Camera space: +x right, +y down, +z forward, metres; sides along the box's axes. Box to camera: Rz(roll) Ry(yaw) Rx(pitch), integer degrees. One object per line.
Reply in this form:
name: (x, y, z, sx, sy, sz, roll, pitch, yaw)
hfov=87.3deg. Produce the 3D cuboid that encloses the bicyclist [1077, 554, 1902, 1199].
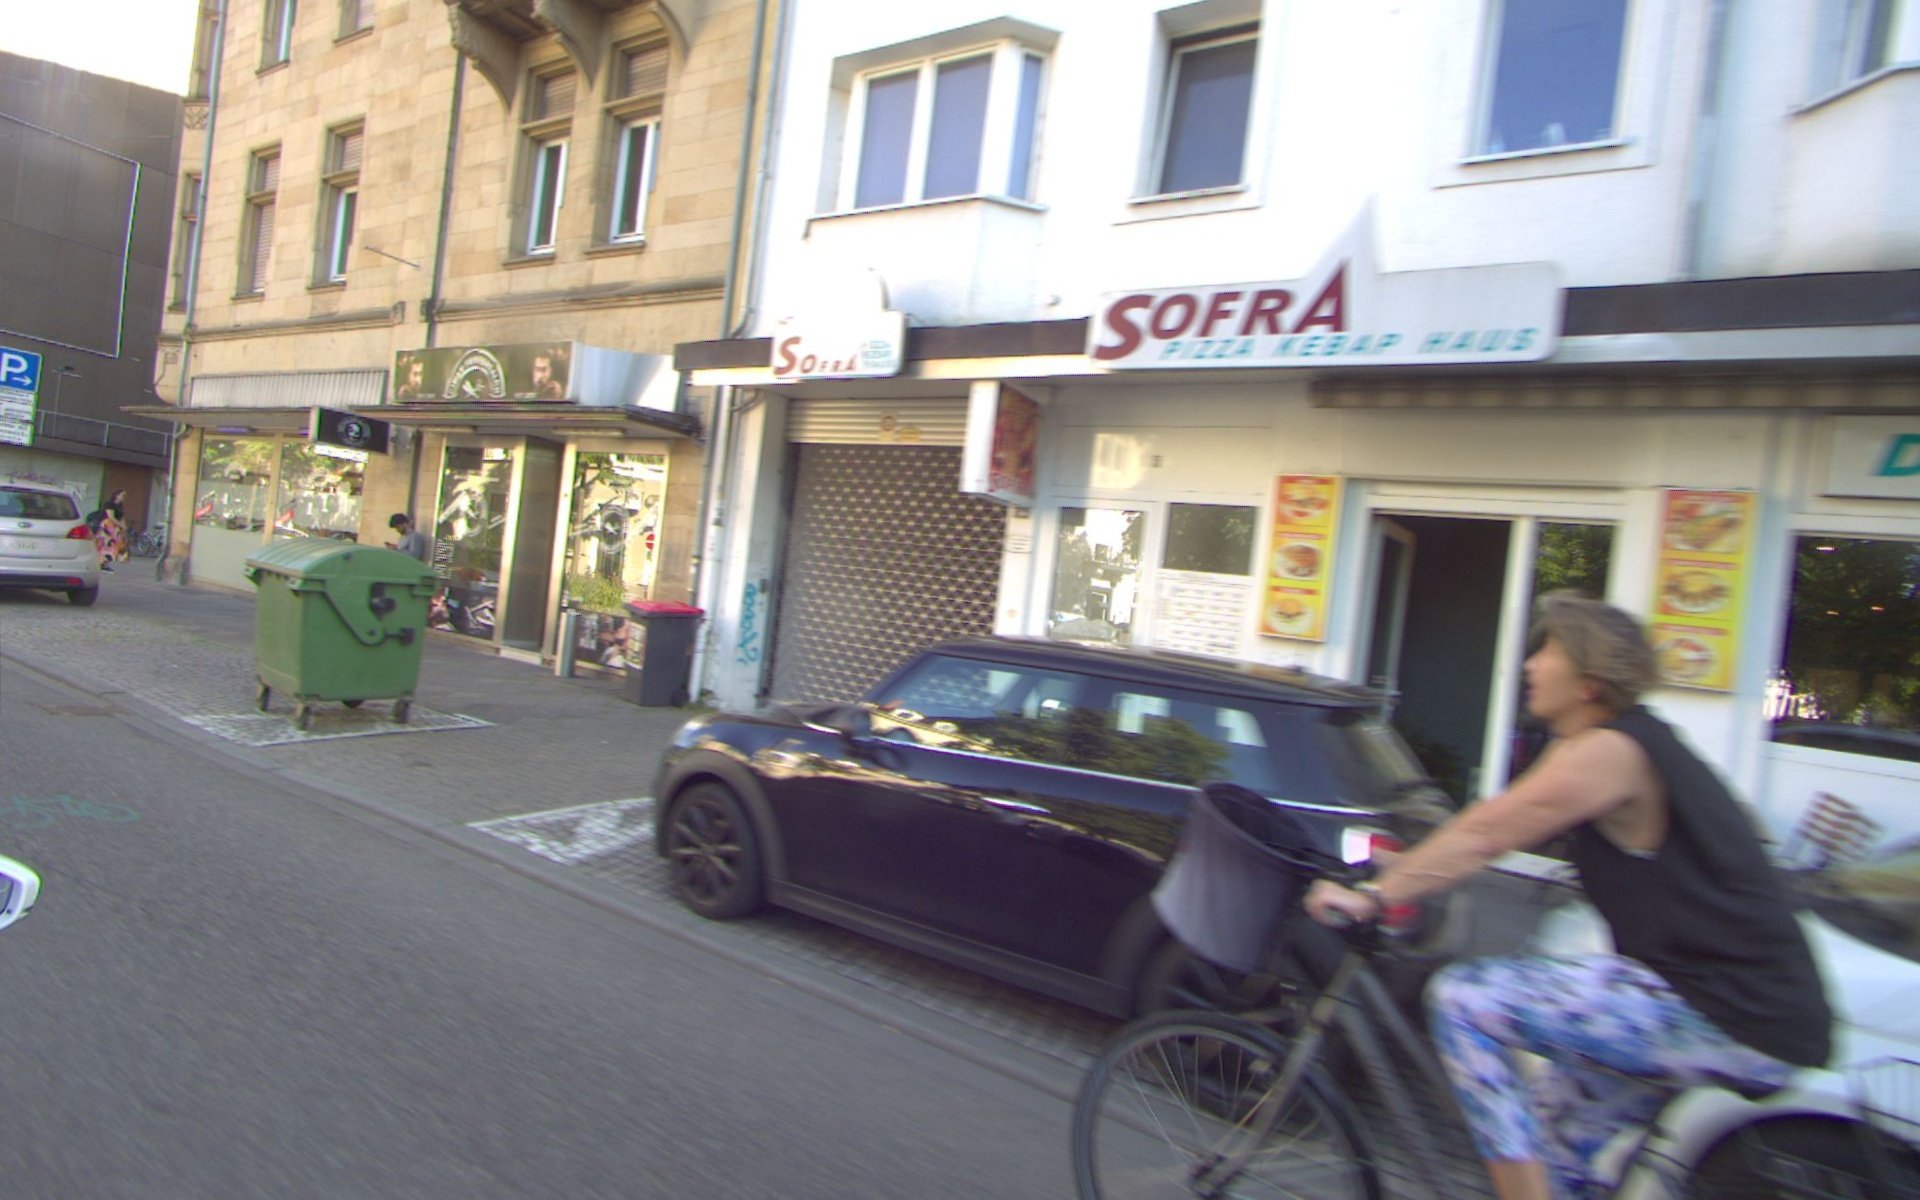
bicyclist: (0.936, 0.727, 1.965, 1.078, 1.469, 0.787, 6, -2, 32)

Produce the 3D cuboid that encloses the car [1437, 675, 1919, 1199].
car: (3.288, 1.176, 2.508, 3.524, 1.534, 1.719, 5, 1, 33)

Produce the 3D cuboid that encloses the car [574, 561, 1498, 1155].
car: (0.202, 0.774, 4.573, 3.724, 1.464, 1.681, 5, -3, 34)

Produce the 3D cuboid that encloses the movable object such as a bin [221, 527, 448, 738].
movable object such as a bin: (-5.140, 0.234, 8.256, 1.470, 1.476, 1.072, 8, 3, 38)

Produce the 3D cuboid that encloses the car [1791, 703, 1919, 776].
car: (27.084, 4.132, 29.247, 3.924, 1.714, 2.003, 6, -2, 17)

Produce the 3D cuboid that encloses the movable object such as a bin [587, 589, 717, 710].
movable object such as a bin: (-3.241, 0.534, 10.614, 0.815, 1.136, 0.878, 6, -2, 33)

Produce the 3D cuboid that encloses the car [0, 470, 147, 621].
car: (-13.355, -0.852, 13.792, 4.746, 1.694, 1.902, 6, -3, 33)

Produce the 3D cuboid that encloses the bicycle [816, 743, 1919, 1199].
bicycle: (1.009, 0.963, 1.894, 2.654, 0.969, 0.654, 6, -2, 32)

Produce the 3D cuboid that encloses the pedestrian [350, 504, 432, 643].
pedestrian: (-7.802, -0.359, 13.797, 0.672, 1.811, 0.608, 6, 1, 32)

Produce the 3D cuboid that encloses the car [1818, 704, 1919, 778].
car: (25.844, 3.922, 26.833, 3.925, 1.714, 2.002, 6, -2, 19)

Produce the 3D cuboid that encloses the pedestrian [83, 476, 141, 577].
pedestrian: (-16.977, -1.456, 20.154, 0.642, 1.893, 0.621, 8, -2, -35)
